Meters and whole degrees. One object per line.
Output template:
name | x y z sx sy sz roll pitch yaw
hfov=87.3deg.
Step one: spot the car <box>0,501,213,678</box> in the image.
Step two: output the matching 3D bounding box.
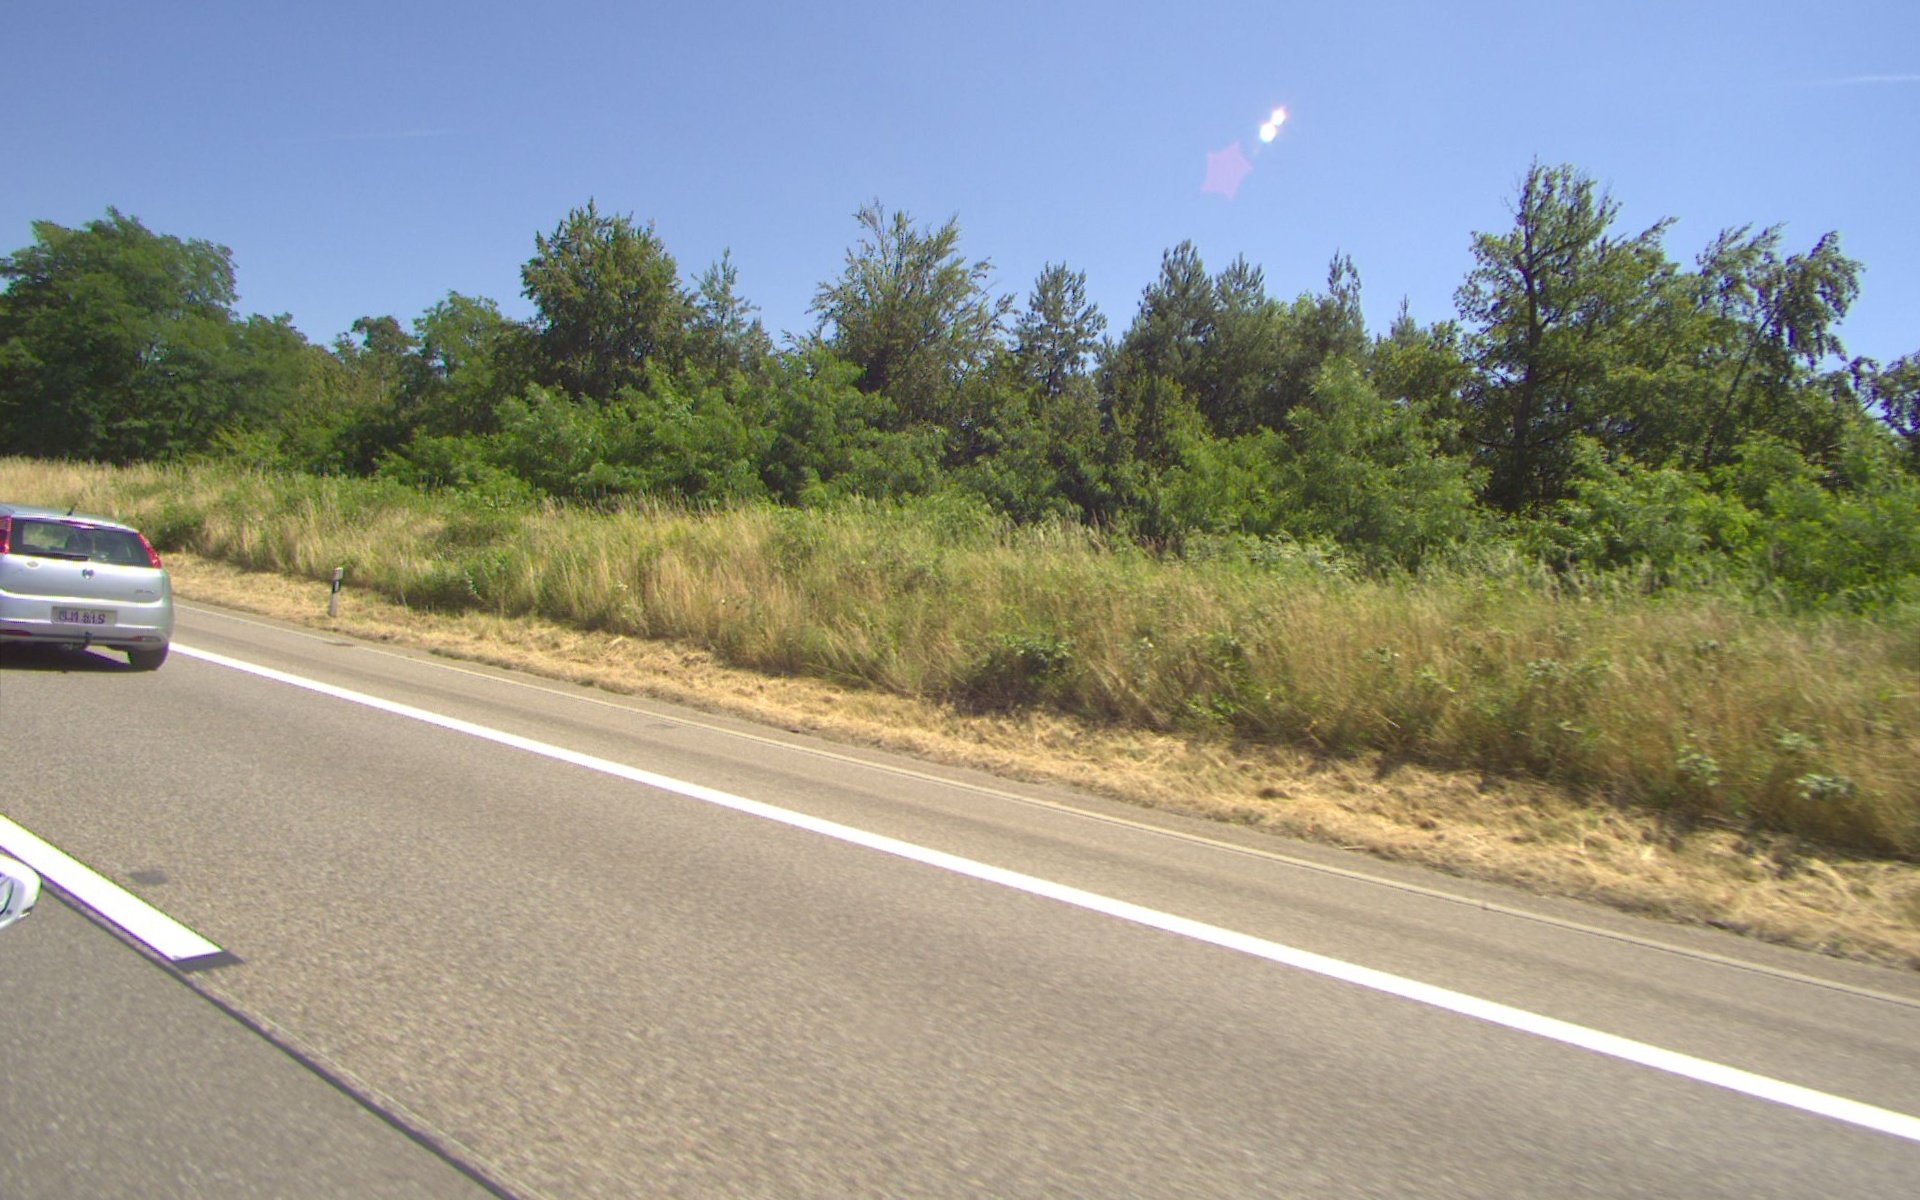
car | -9.623 -0.223 10.307 3.915 1.483 1.748 6 -2 32
